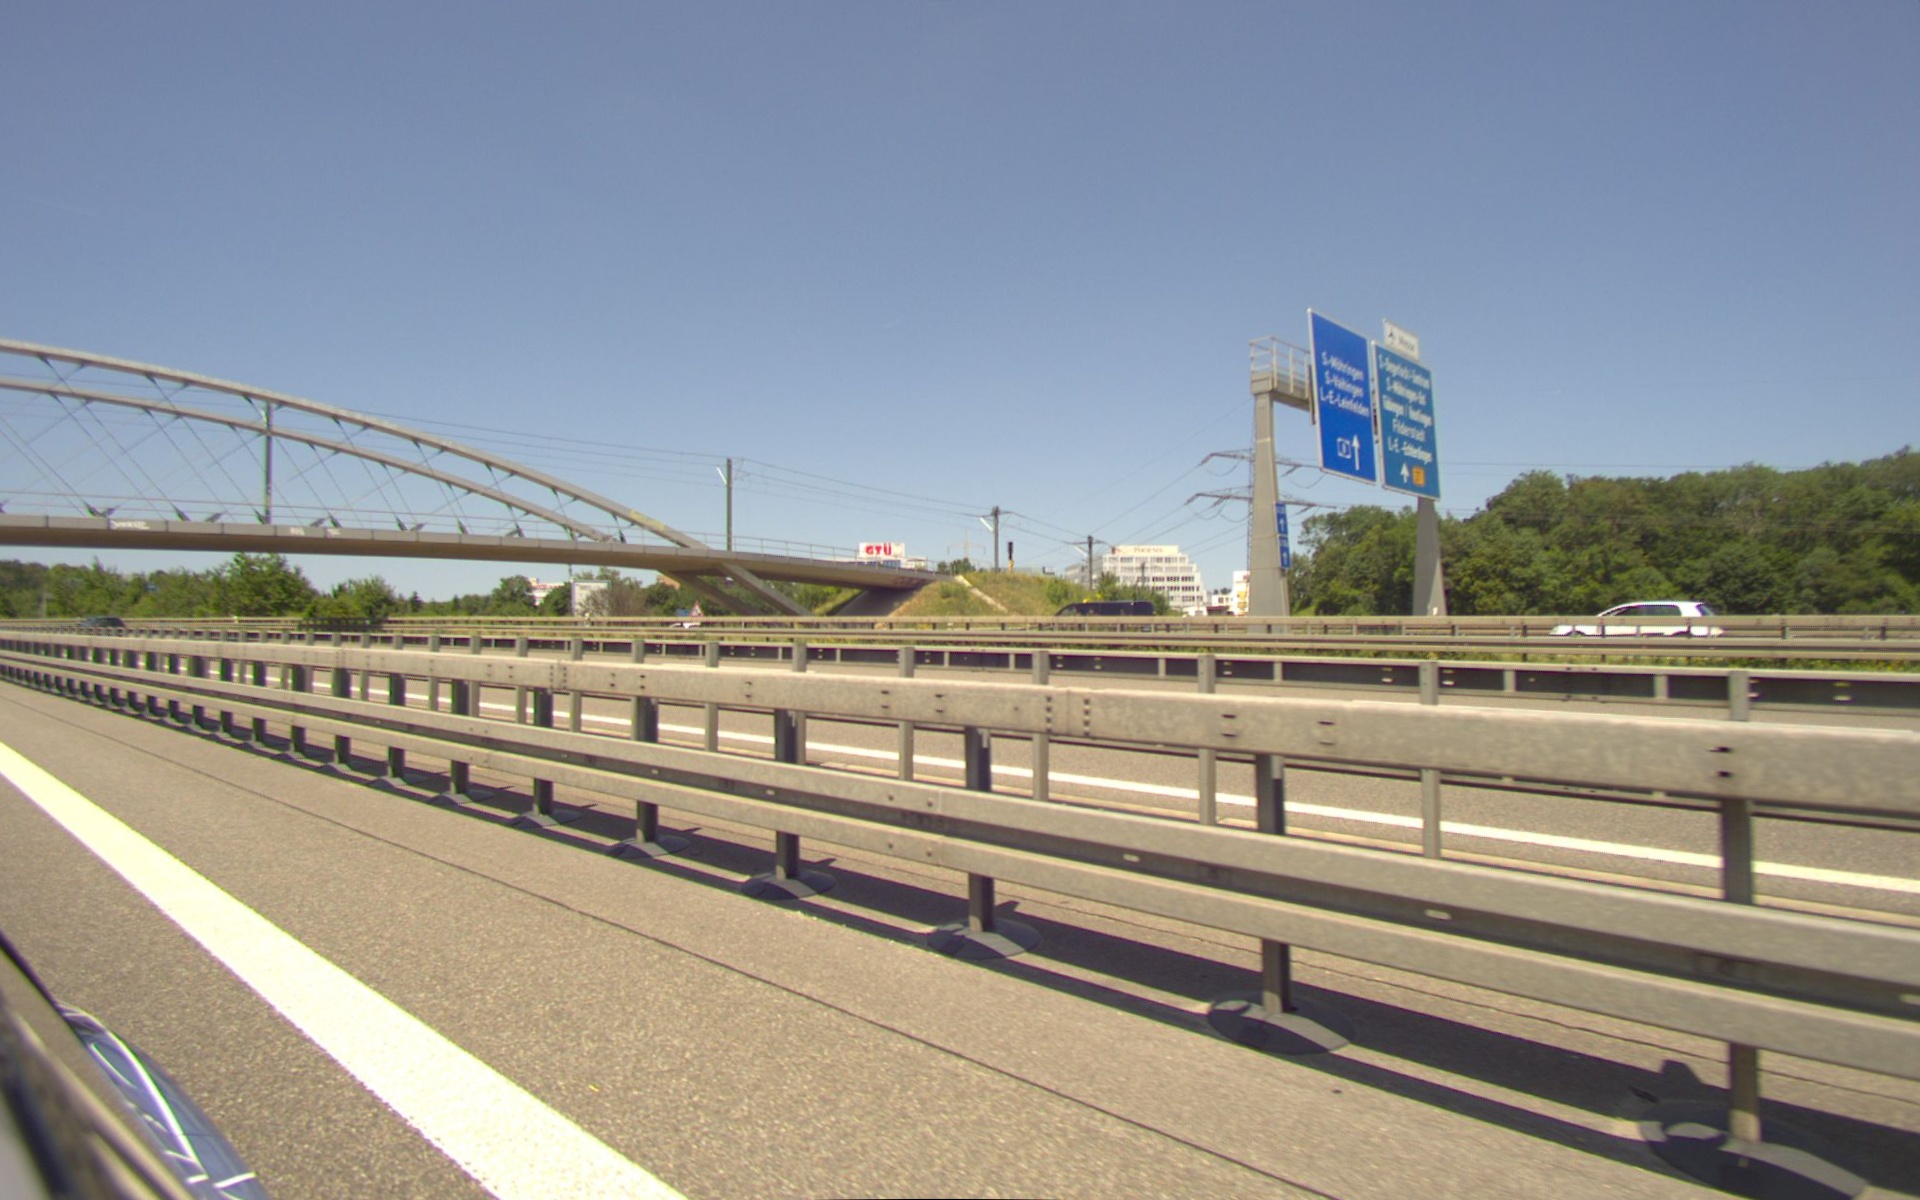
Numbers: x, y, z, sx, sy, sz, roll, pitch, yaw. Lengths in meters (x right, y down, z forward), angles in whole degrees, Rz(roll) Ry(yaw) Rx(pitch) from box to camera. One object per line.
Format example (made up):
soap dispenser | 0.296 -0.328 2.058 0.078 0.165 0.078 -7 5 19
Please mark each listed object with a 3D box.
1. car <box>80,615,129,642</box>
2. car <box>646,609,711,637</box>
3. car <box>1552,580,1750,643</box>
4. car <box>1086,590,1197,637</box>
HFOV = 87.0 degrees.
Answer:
car | -52.161 1.711 61.682 4.443 1.475 1.641 -1 1 41
car | -17.334 1.397 62.271 3.997 1.630 1.973 -1 -1 41
car | 19.499 0.314 28.667 4.390 1.630 1.848 -1 0 44
car | 7.192 0.532 40.386 4.001 1.757 1.848 -1 0 43
